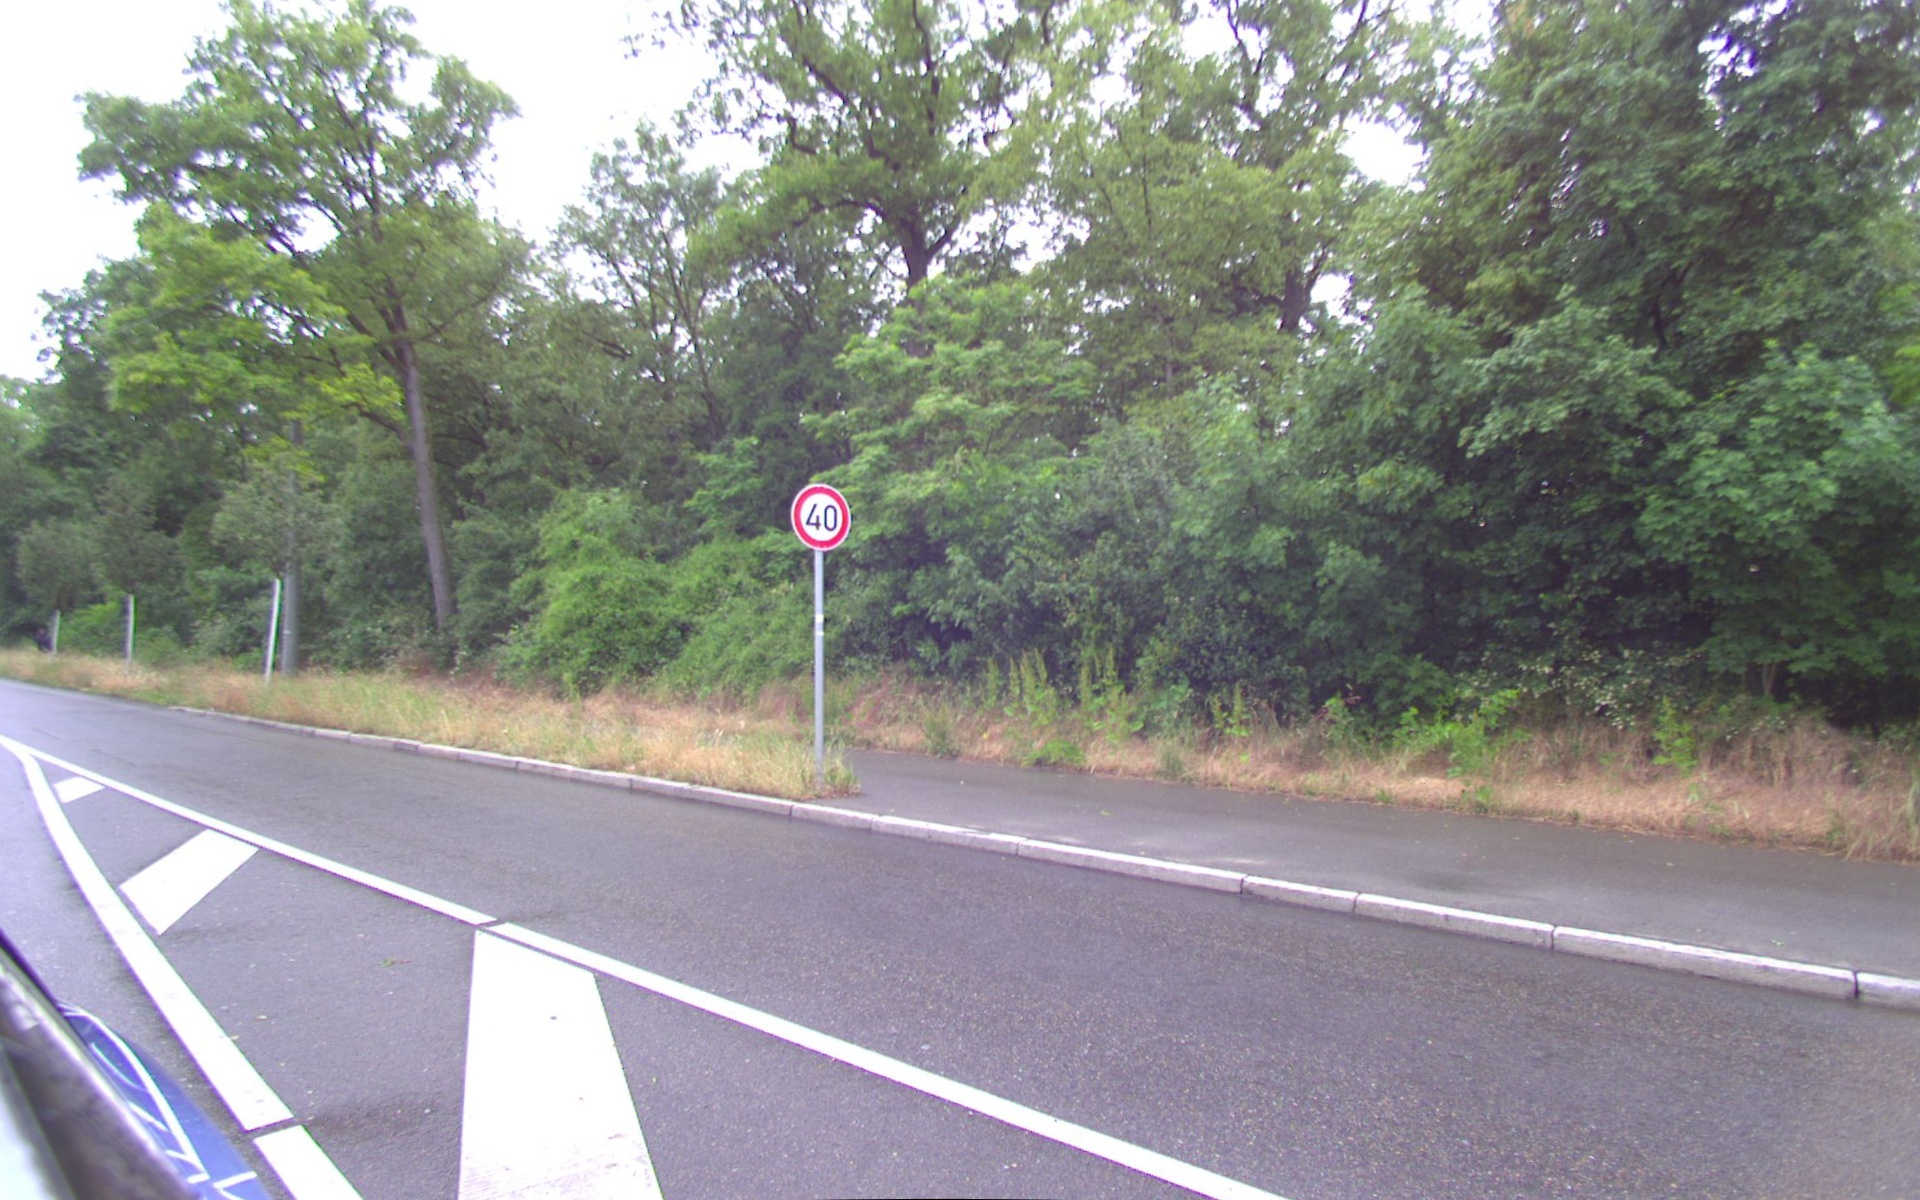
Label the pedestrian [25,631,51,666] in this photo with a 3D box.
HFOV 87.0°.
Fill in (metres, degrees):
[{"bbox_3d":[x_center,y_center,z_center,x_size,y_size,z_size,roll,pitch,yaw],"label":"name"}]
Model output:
[{"bbox_3d":[-43.165,2.280,47.390,0.731,1.620,0.773,-2,-3,38],"label":"pedestrian"}]
